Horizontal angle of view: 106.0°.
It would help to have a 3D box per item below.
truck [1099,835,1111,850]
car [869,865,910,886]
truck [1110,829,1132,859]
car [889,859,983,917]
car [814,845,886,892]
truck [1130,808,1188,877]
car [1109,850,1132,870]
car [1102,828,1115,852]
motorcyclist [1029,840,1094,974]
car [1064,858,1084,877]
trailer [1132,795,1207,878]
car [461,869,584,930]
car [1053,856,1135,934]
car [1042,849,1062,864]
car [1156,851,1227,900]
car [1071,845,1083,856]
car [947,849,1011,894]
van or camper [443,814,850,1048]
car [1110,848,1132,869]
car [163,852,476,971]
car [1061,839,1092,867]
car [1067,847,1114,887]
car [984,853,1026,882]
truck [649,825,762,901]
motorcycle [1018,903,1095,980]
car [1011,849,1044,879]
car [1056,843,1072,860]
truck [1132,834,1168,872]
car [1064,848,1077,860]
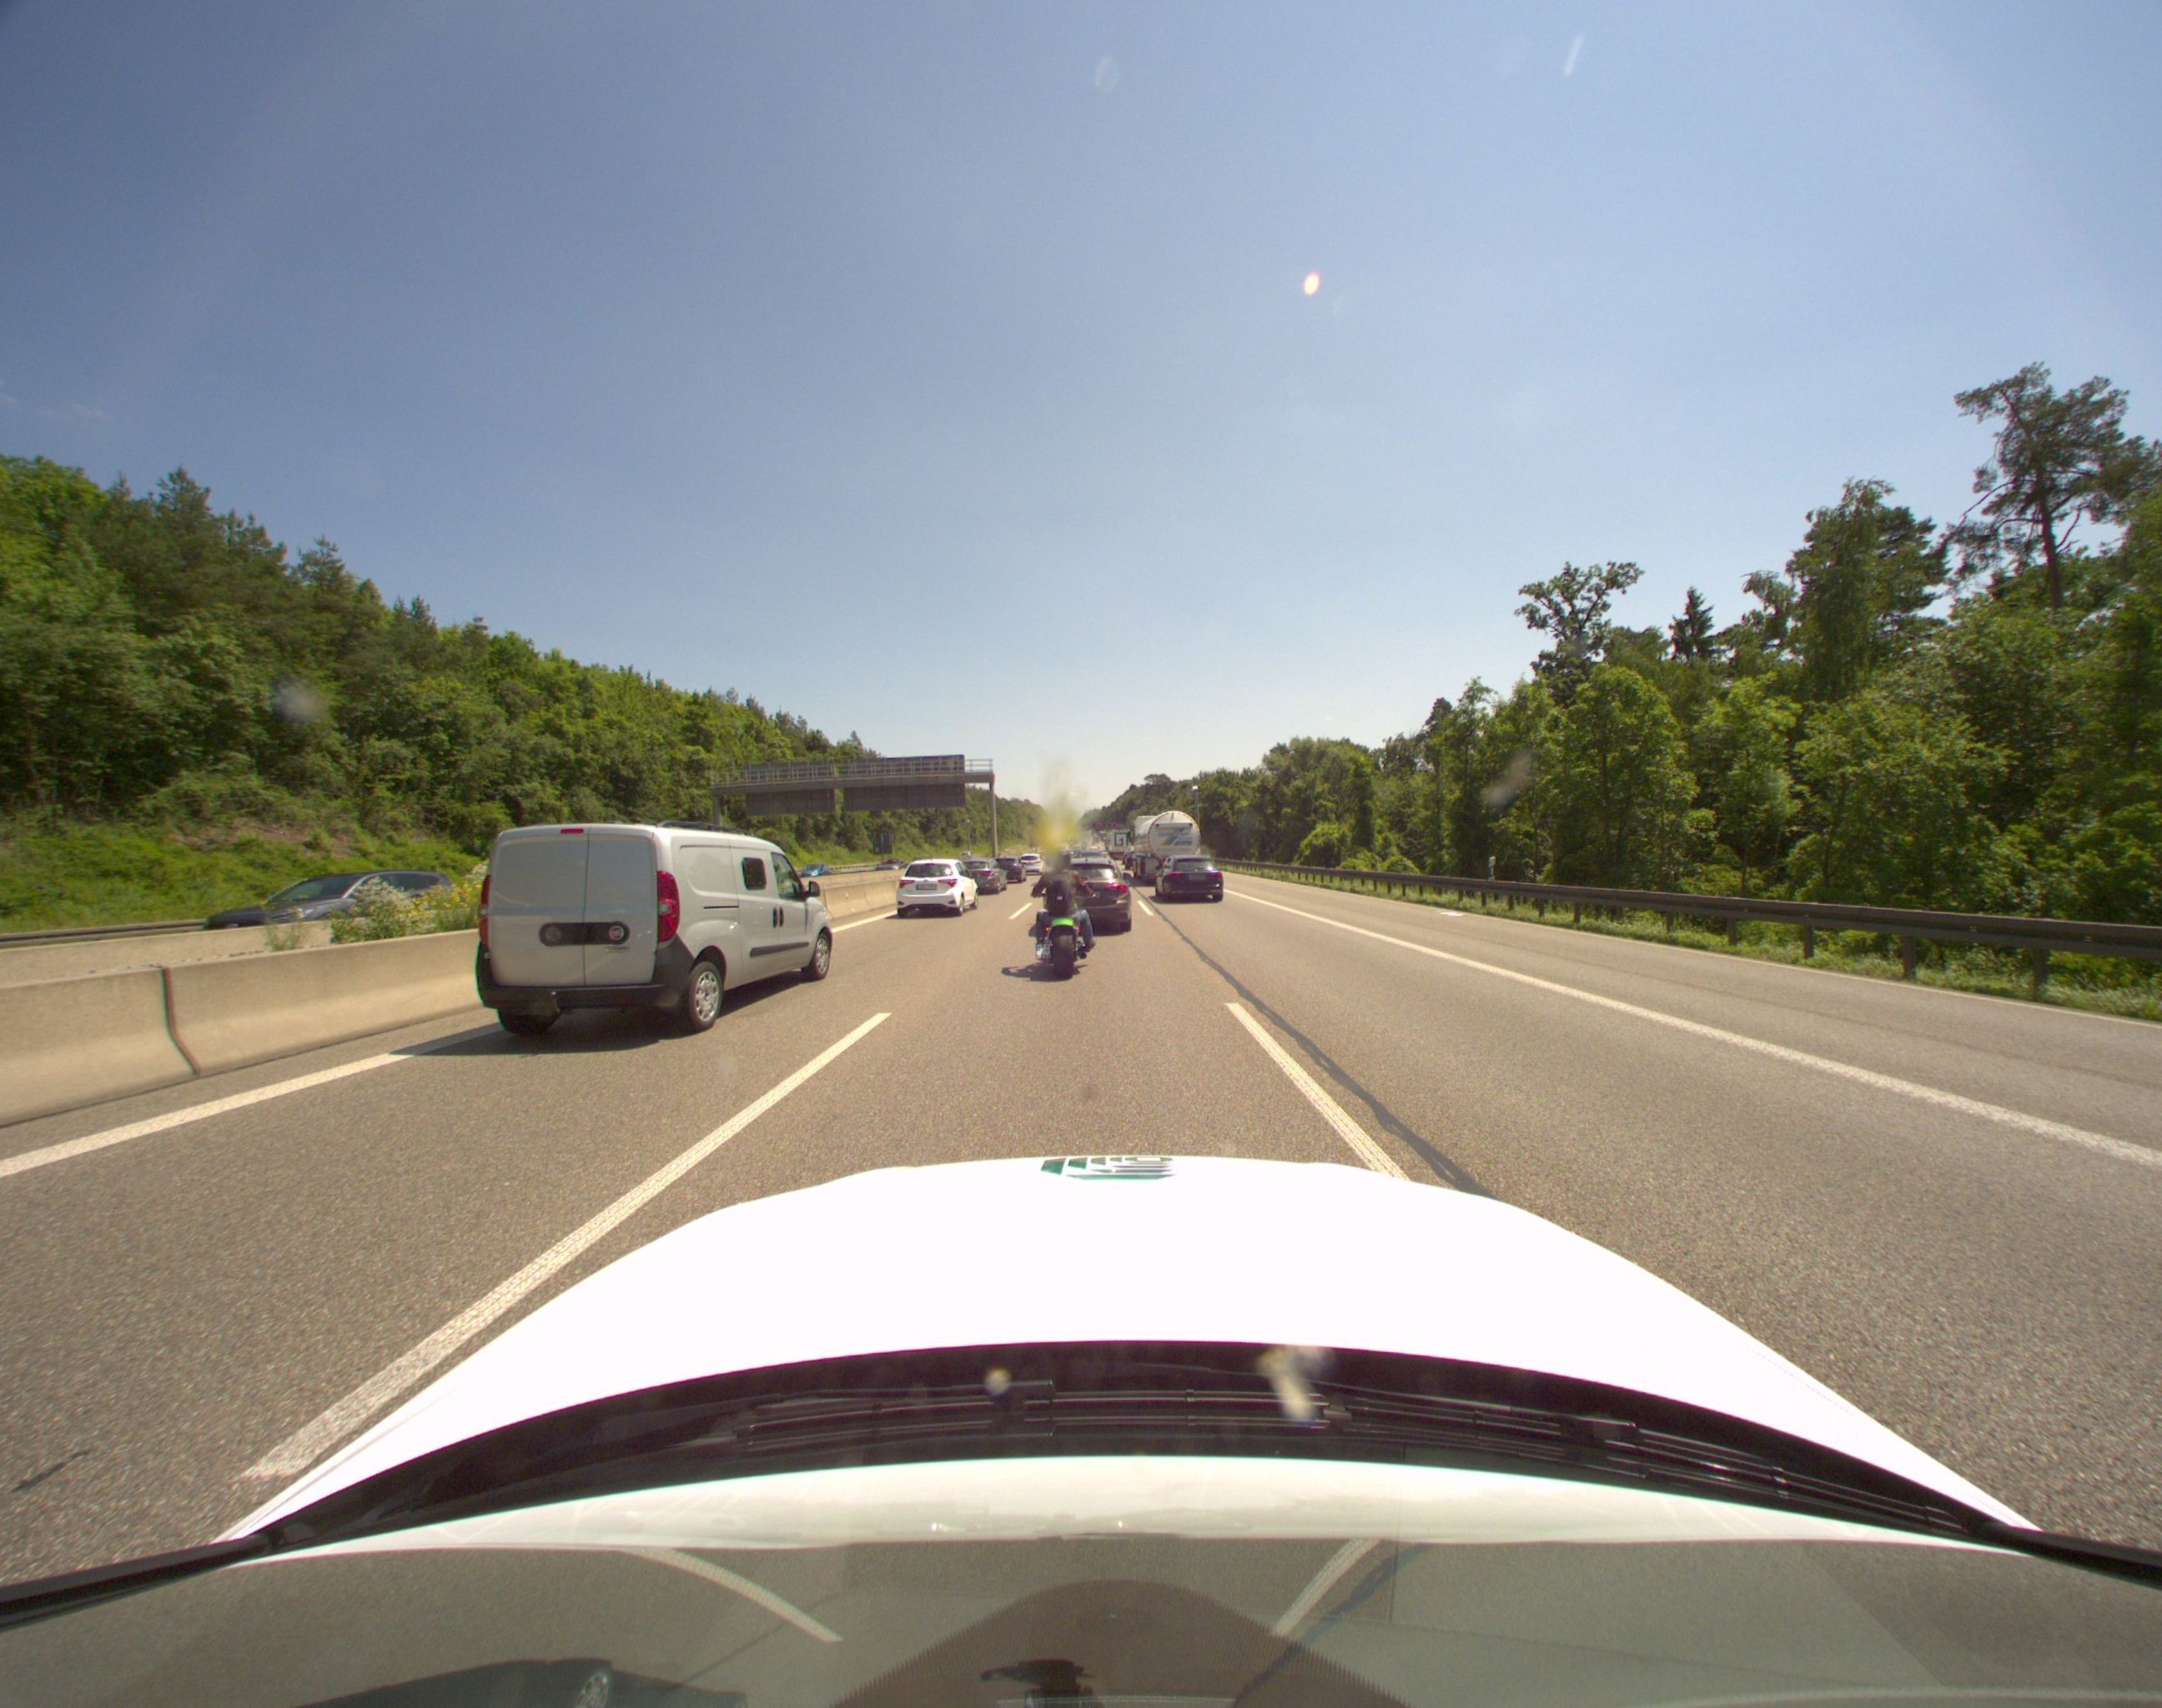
[{"bbox_3d":[5.867,-2.802,201.236,2.687,3.405,10.480,-2,0,1],"label":"truck"},{"bbox_3d":[-14.061,1.570,59.943,1.986,1.520,4.001,-1,-1,1],"label":"car"},{"bbox_3d":[5.512,-1.328,111.582,2.841,3.821,7.194,-1,-1,4],"label":"truck"},{"bbox_3d":[-3.846,0.876,22.305,1.769,1.411,4.000,-1,-1,1],"label":"car"},{"bbox_3d":[-10.520,0.658,37.389,1.986,2.014,4.001,-1,-1,2],"label":"car"},{"bbox_3d":[4.399,-0.587,47.248,2.818,3.671,6.430,-1,-1,1],"label":"truck"},{"bbox_3d":[3.150,0.495,65.635,1.769,1.527,4.000,-1,-1,1],"label":"car"},{"bbox_3d":[4.934,-2.488,148.017,2.159,3.893,9.331,-1,-1,1],"label":"car"},{"bbox_3d":[-0.245,0.677,10.821,0.796,1.688,1.016,-1,-1,1],"label":"motorcyclist"},{"bbox_3d":[-0.736,1.431,88.184,1.986,2.014,4.000,-1,-1,1],"label":"car"},{"bbox_3d":[4.286,-0.686,41.672,2.818,3.671,10.733,-1,-1,1],"label":"trailer"},{"bbox_3d":[-19.570,1.542,28.735,1.844,2.014,3.513,-1,-1,1],"label":"car"},{"bbox_3d":[0.291,0.783,17.395,1.535,1.450,4.001,-1,0,1],"label":"car"},{"bbox_3d":[-3.012,0.291,84.356,1.757,1.442,4.001,-1,-1,2],"label":"car"},{"bbox_3d":[3.543,0.689,26.878,1.786,1.458,4.624,-1,-1,1],"label":"car"},{"bbox_3d":[-0.738,-0.632,156.215,1.986,2.013,4.001,-2,0,1],"label":"car"},{"bbox_3d":[-4.112,0.701,33.410,1.986,1.684,4.330,-1,-1,1],"label":"car"},{"bbox_3d":[-4.180,0.610,8.898,1.846,1.880,4.563,-1,0,2],"label":"van or camper"},{"bbox_3d":[4.026,0.480,82.135,1.987,2.014,3.998,-1,-1,-1],"label":"car"},{"bbox_3d":[-14.812,1.032,16.298,1.986,2.014,4.421,-1,-1,2],"label":"car"},{"bbox_3d":[-0.300,-0.008,54.403,1.987,1.775,3.999,-1,-1,0],"label":"car"},{"bbox_3d":[0.406,0.591,36.942,1.987,1.711,3.999,-1,-1,0],"label":"car"},{"bbox_3d":[-4.023,0.715,43.689,1.988,1.464,3.997,-1,-1,-2],"label":"car"},{"bbox_3d":[-21.437,0.537,47.085,2.682,3.990,7.991,-1,-1,1],"label":"truck"},{"bbox_3d":[-0.278,1.142,11.134,0.932,0.793,2.299,-1,0,1],"label":"motorcycle"},{"bbox_3d":[-3.732,0.731,57.527,1.987,2.014,4.000,-1,-1,0],"label":"car"},{"bbox_3d":[-2.082,-0.283,100.139,1.654,1.978,4.001,-1,-1,2],"label":"car"},{"bbox_3d":[5.834,-0.087,69.749,2.381,2.979,8.251,-1,0,0],"label":"truck"},{"bbox_3d":[-1.403,-0.007,112.640,1.654,1.599,4.001,-1,-1,2],"label":"car"}]
